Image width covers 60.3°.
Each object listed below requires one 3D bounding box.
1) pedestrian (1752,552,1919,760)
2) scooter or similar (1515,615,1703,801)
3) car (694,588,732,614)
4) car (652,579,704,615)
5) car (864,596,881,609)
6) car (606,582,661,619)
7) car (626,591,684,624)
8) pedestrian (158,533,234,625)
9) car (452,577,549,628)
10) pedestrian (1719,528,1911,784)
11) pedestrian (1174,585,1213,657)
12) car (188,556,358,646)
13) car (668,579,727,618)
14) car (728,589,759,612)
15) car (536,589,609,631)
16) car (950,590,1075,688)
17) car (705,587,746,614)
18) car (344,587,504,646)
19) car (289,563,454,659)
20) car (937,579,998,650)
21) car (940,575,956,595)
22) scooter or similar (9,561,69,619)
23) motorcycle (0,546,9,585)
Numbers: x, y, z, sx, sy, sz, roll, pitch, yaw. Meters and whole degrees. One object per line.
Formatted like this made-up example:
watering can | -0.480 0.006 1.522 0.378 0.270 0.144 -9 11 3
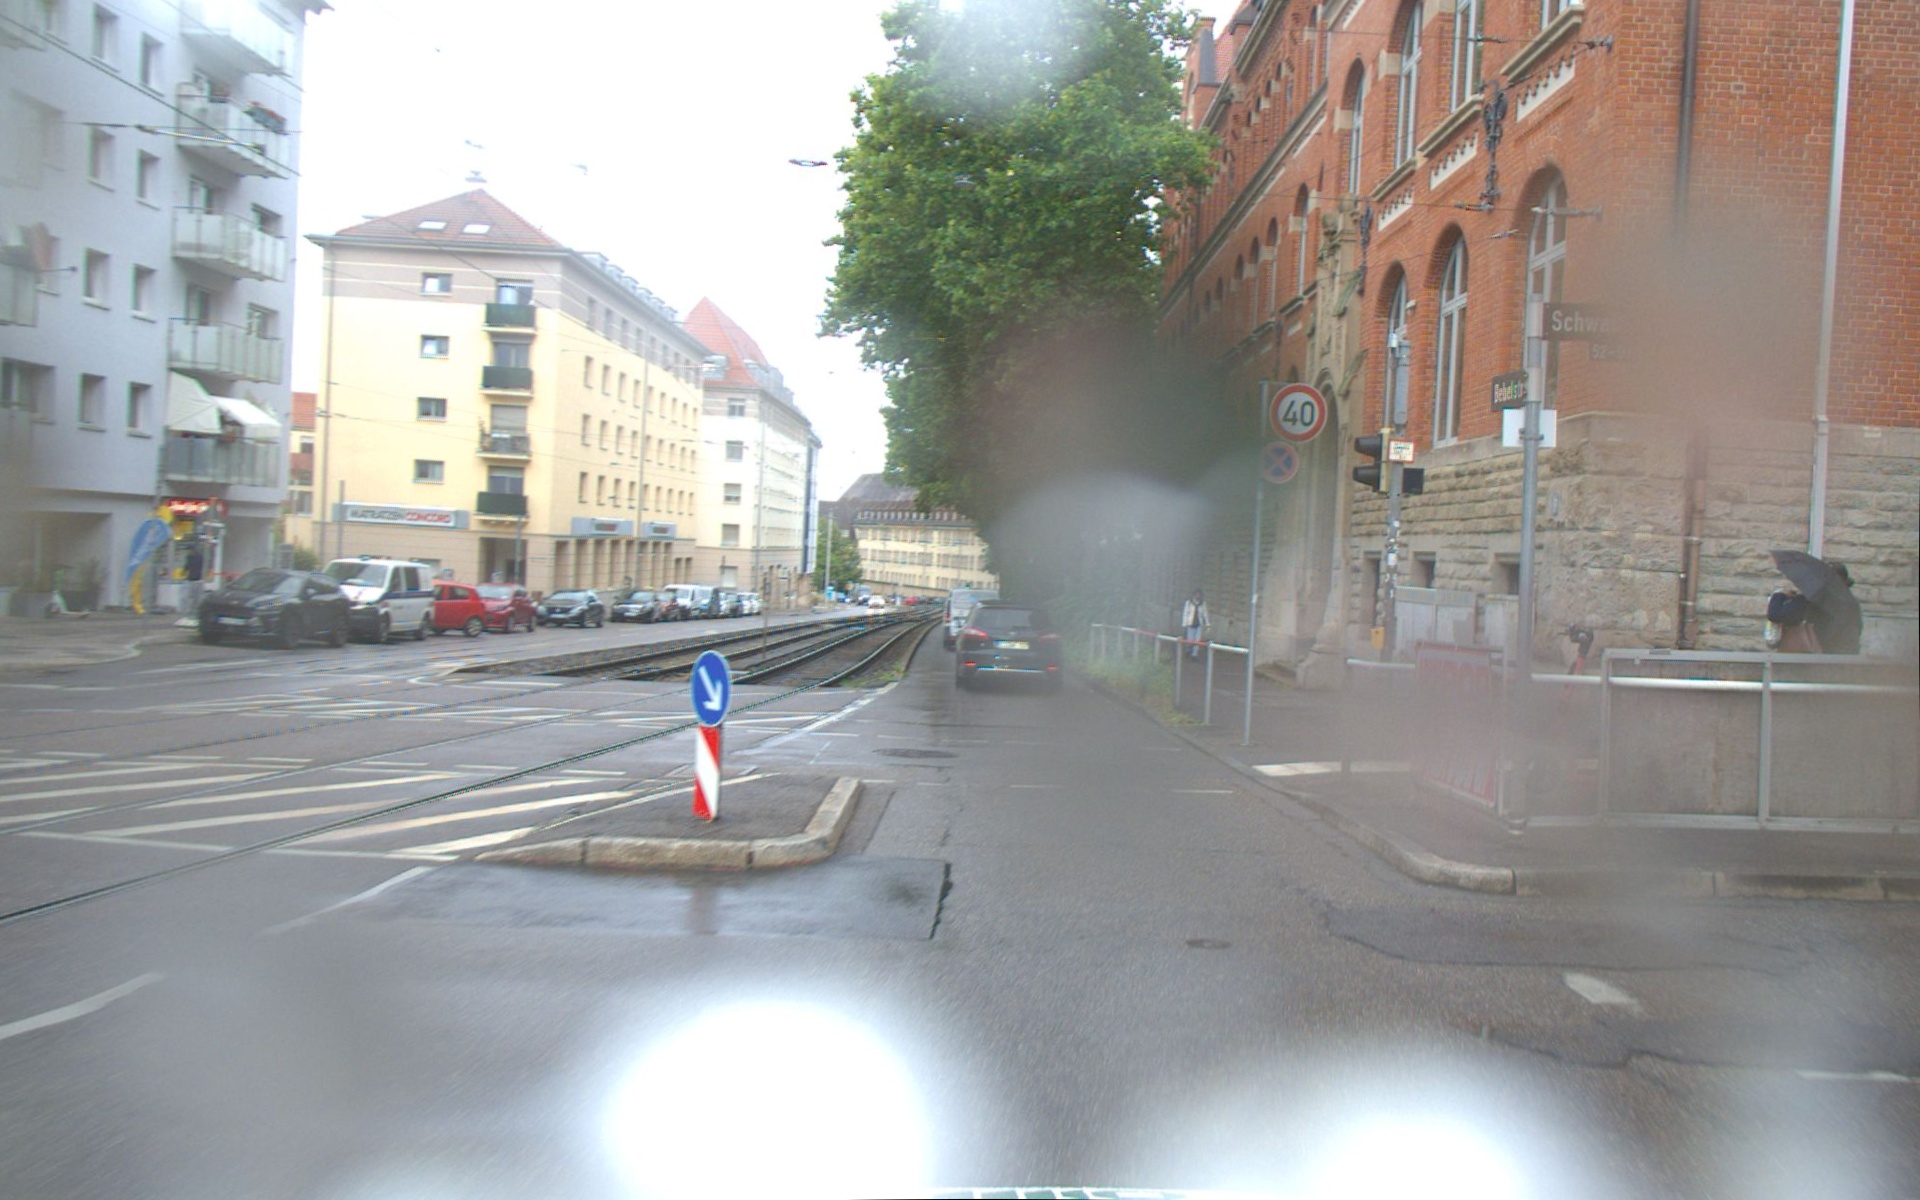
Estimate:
pedestrian | 7.335 0.447 13.783 0.938 1.654 1.073 1 0 0
scooter or similar | 4.705 0.757 12.021 1.221 1.272 0.638 1 -1 22
car | -14.408 0.055 96.707 1.657 1.464 4.048 1 0 -1
car | -14.592 -0.150 85.849 1.829 1.747 4.460 2 0 1
car | -10.326 0.331 195.925 1.676 1.488 4.281 2 0 1
car | -14.651 0.022 74.413 1.815 1.534 4.986 2 0 -5
car | -14.753 0.372 80.257 1.813 1.457 4.832 4 0 0
pedestrian | -16.920 -0.455 36.662 1.149 1.962 1.176 3 0 -8
car | -14.349 0.086 51.836 1.619 1.477 4.076 2 0 4
pedestrian | 6.699 0.418 13.015 0.938 1.920 1.073 1 0 0
pedestrian | 5.677 0.509 40.263 0.806 1.708 0.860 2 -1 3
car | -14.329 0.028 34.771 1.697 1.679 4.363 3 0 0
car | -14.494 -0.061 91.733 1.952 1.938 5.462 4 0 4
car | -14.432 0.007 110.254 1.670 1.421 3.933 4 0 -4
car | -14.241 0.354 61.030 1.645 1.420 4.621 2 0 -1
car | 0.837 0.638 28.822 1.894 1.478 4.316 3 0 -1
car | -14.387 0.019 101.526 1.776 1.525 4.582 3 0 0
car | -14.791 0.480 45.827 1.749 1.459 3.969 3 0 34
car | -14.493 0.241 41.077 2.028 2.043 5.302 5 0 0
car | 0.202 0.448 51.169 1.705 2.049 3.902 2 0 -2
car | -1.555 -1.936 216.807 1.952 2.494 5.998 2 -1 1
scooter or similar | -19.867 -0.219 35.696 1.069 1.231 0.316 -1 0 -11
motorcycle | -19.060 -0.449 30.932 0.913 1.396 2.309 14 0 0
